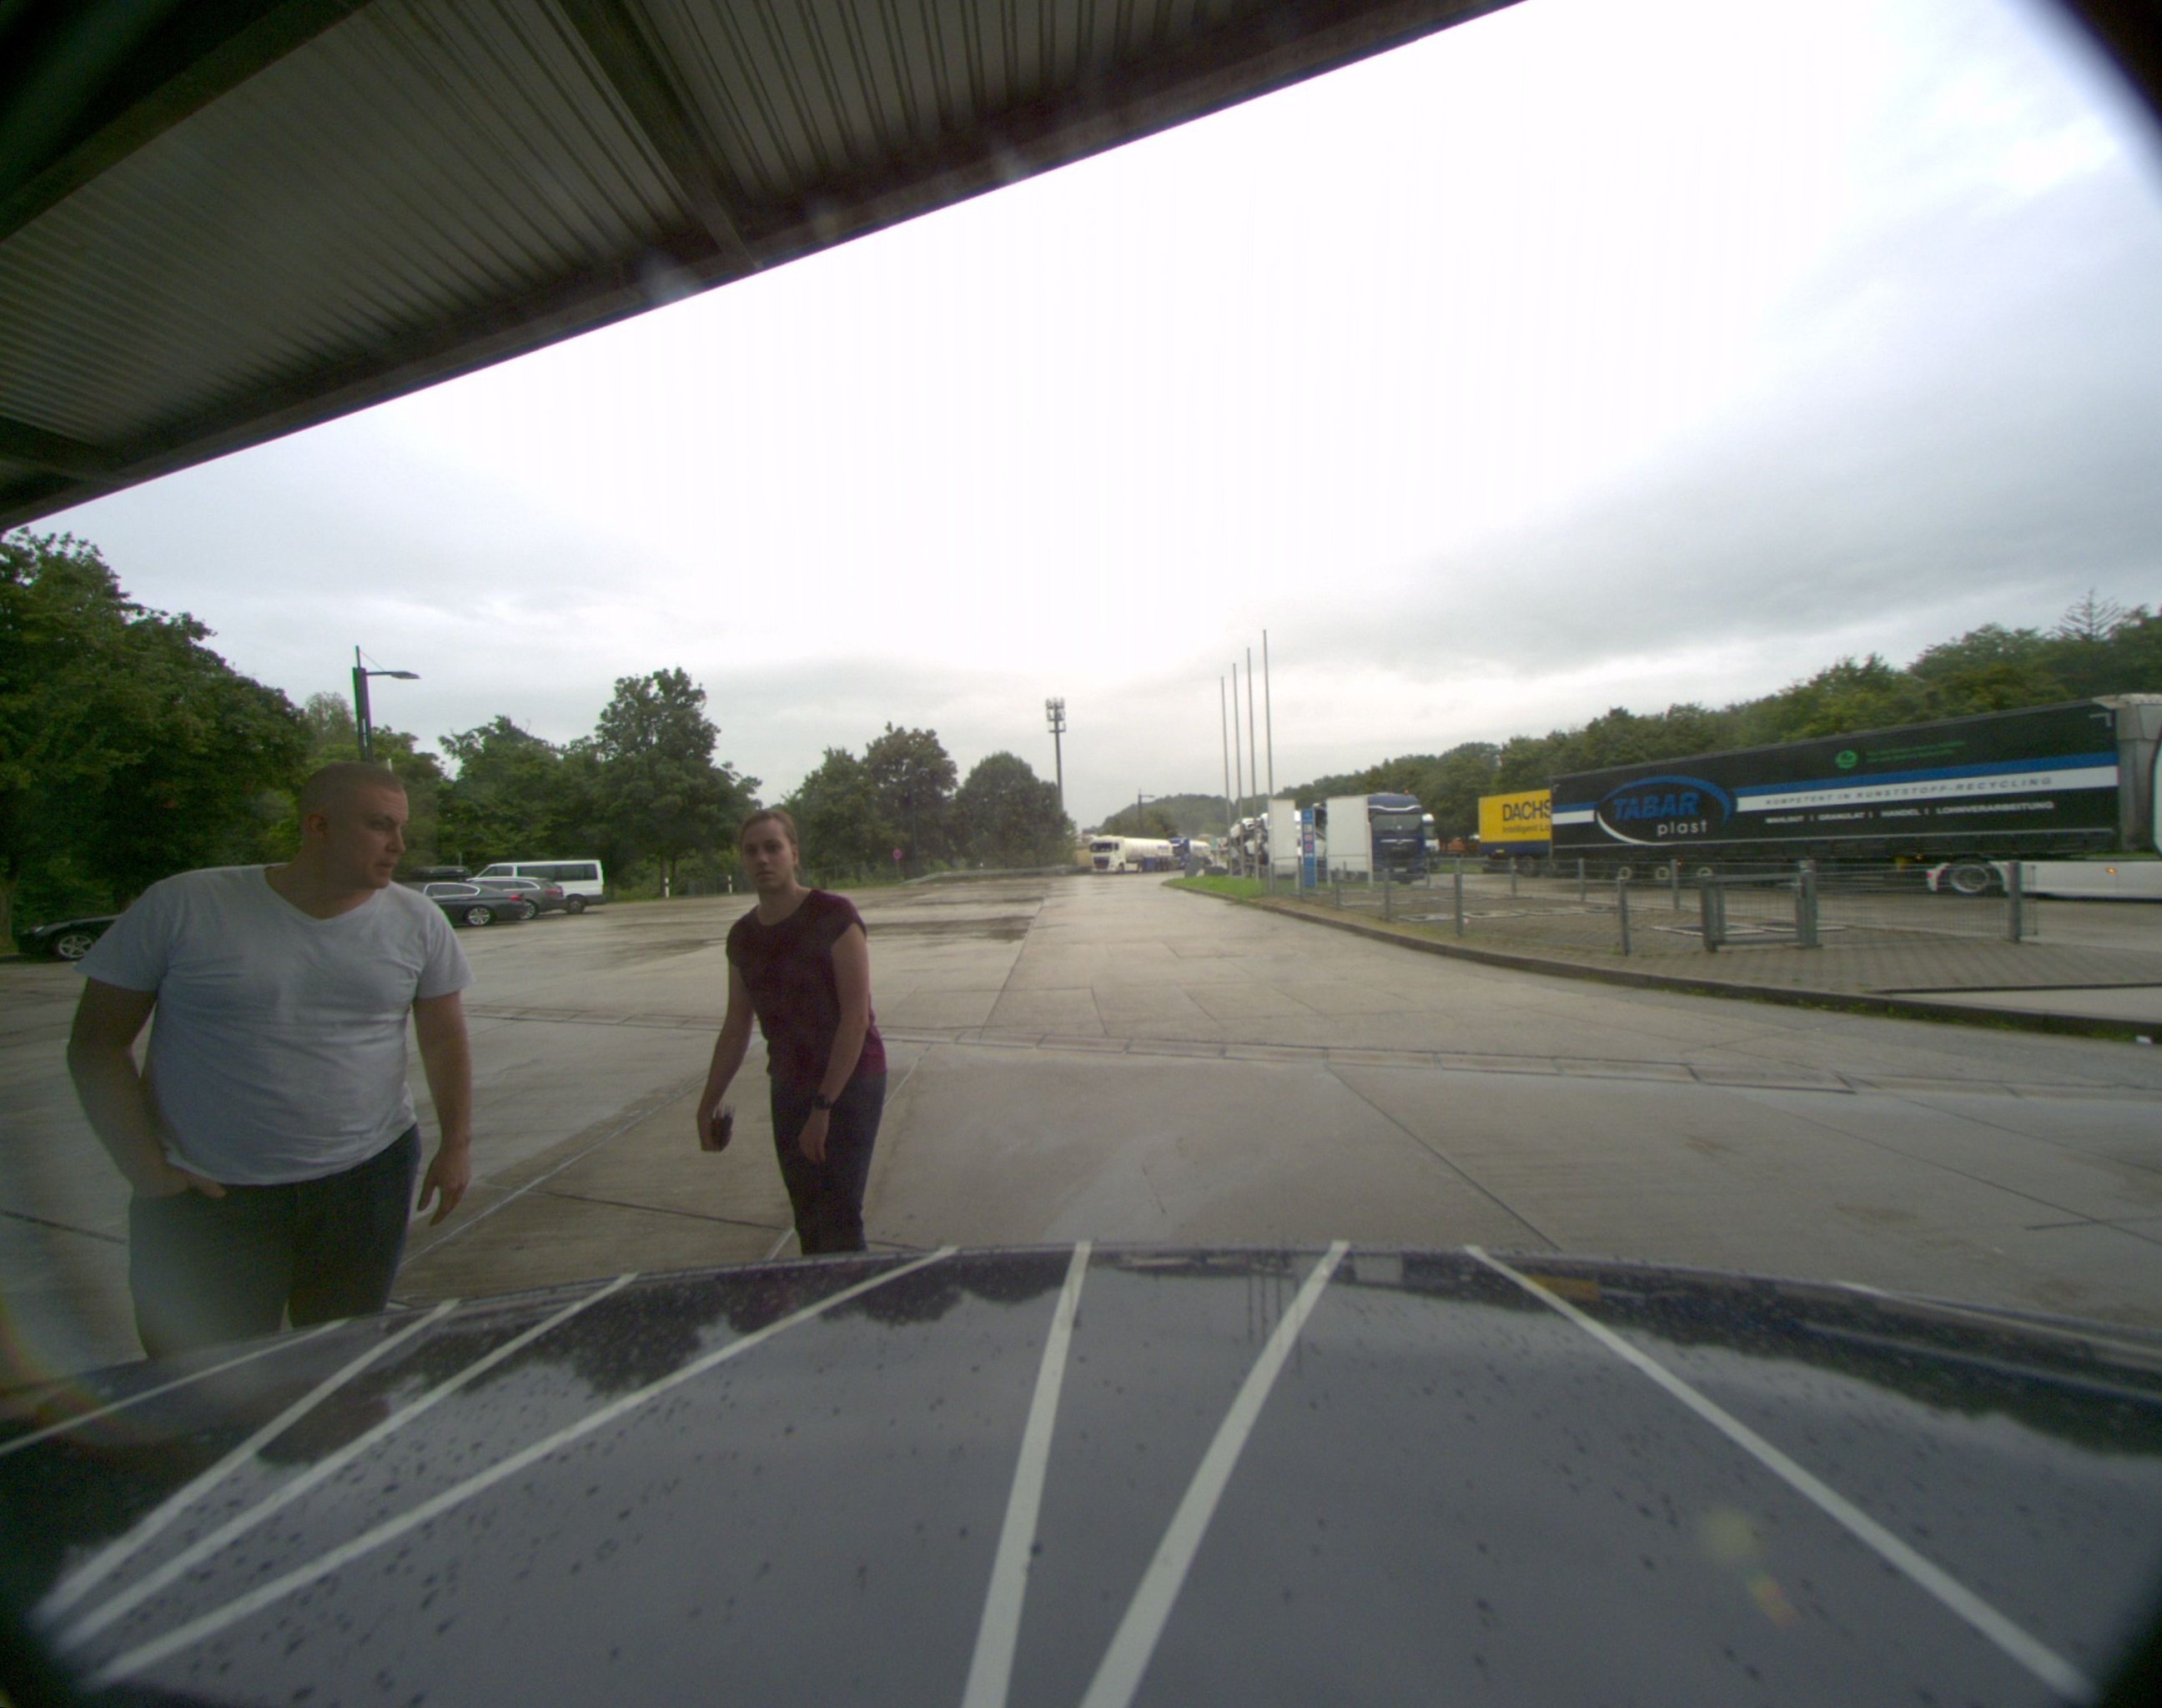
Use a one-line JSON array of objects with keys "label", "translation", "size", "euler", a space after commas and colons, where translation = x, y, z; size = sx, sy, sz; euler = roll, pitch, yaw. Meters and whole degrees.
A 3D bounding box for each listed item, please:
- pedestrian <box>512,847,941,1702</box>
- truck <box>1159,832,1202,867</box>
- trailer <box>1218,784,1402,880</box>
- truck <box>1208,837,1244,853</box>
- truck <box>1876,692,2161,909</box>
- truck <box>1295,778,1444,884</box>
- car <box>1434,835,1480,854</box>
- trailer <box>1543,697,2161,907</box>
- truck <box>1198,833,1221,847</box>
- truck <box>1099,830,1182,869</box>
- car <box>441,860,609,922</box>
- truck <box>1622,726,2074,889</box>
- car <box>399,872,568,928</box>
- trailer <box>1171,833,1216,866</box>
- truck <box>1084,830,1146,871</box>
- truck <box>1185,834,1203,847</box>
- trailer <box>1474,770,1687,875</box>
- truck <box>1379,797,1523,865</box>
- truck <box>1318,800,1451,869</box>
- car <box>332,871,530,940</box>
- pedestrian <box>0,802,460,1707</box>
[{"label": "pedestrian", "translation": [-0.817, 0.853, 2.027], "size": [0.797, 1.724, 0.838], "euler": [-1, 1, -13]}, {"label": "truck", "translation": [11.310, -0.531, 85.750], "size": [3.045, 3.745, 6.475], "euler": [-2, 1, 23]}, {"label": "trailer", "translation": [11.361, -1.003, 40.955], "size": [2.990, 4.009, 16.597], "euler": [-2, 1, -7]}, {"label": "truck", "translation": [33.408, -2.062, 176.315], "size": [3.251, 3.543, 16.548], "euler": [-2, 1, -7]}, {"label": "truck", "translation": [21.274, -1.045, 15.221], "size": [2.992, 4.009, 6.733], "euler": [-2, 1, -15]}, {"label": "truck", "translation": [12.291, -0.926, 33.264], "size": [2.990, 4.009, 7.259], "euler": [-2, 1, -7]}, {"label": "car", "translation": [45.632, -1.079, 92.389], "size": [2.421, 2.163, 5.623], "euler": [-2, 0, -6]}, {"label": "trailer", "translation": [19.944, -1.066, 21.589], "size": [2.992, 4.009, 13.793], "euler": [-2, 1, -12]}, {"label": "truck", "translation": [34.793, -3.861, 206.295], "size": [3.251, 3.543, 11.968], "euler": [-2, 1, -5]}, {"label": "truck", "translation": [6.183, -0.528, 76.365], "size": [3.243, 3.544, 11.995], "euler": [-2, 1, 31]}, {"label": "car", "translation": [-20.275, 1.279, 27.926], "size": [4.780, 1.974, 2.010], "euler": [-2, 0, -36]}, {"label": "truck", "translation": [23.050, -1.217, 24.326], "size": [2.774, 4.009, 10.632], "euler": [-2, 1, -8]}, {"label": "car", "translation": [-19.664, 1.451, 25.295], "size": [4.187, 1.547, 1.995], "euler": [-2, 0, -33]}, {"label": "trailer", "translation": [13.650, -0.659, 91.458], "size": [2.898, 3.618, 10.586], "euler": [-2, 1, 22]}, {"label": "truck", "translation": [3.300, -0.361, 71.453], "size": [3.243, 3.544, 6.114], "euler": [-2, 1, 31]}, {"label": "truck", "translation": [30.642, -3.682, 206.007], "size": [2.619, 3.458, 9.319], "euler": [-2, 1, -4]}, {"label": "trailer", "translation": [21.772, -1.279, 34.009], "size": [2.774, 4.009, 8.853], "euler": [-2, 1, -8]}, {"label": "truck", "translation": [24.347, -1.408, 50.973], "size": [2.991, 4.009, 10.464], "euler": [-2, 1, -10]}, {"label": "truck", "translation": [19.745, -1.225, 50.449], "size": [2.991, 4.009, 10.464], "euler": [-2, 1, -10]}, {"label": "car", "translation": [-19.133, 1.448, 22.654], "size": [4.187, 1.720, 1.995], "euler": [-2, 0, -33]}, {"label": "pedestrian", "translation": [-1.757, 0.811, 1.534], "size": [0.635, 1.800, 0.493], "euler": [-4, 3, -34]}]
